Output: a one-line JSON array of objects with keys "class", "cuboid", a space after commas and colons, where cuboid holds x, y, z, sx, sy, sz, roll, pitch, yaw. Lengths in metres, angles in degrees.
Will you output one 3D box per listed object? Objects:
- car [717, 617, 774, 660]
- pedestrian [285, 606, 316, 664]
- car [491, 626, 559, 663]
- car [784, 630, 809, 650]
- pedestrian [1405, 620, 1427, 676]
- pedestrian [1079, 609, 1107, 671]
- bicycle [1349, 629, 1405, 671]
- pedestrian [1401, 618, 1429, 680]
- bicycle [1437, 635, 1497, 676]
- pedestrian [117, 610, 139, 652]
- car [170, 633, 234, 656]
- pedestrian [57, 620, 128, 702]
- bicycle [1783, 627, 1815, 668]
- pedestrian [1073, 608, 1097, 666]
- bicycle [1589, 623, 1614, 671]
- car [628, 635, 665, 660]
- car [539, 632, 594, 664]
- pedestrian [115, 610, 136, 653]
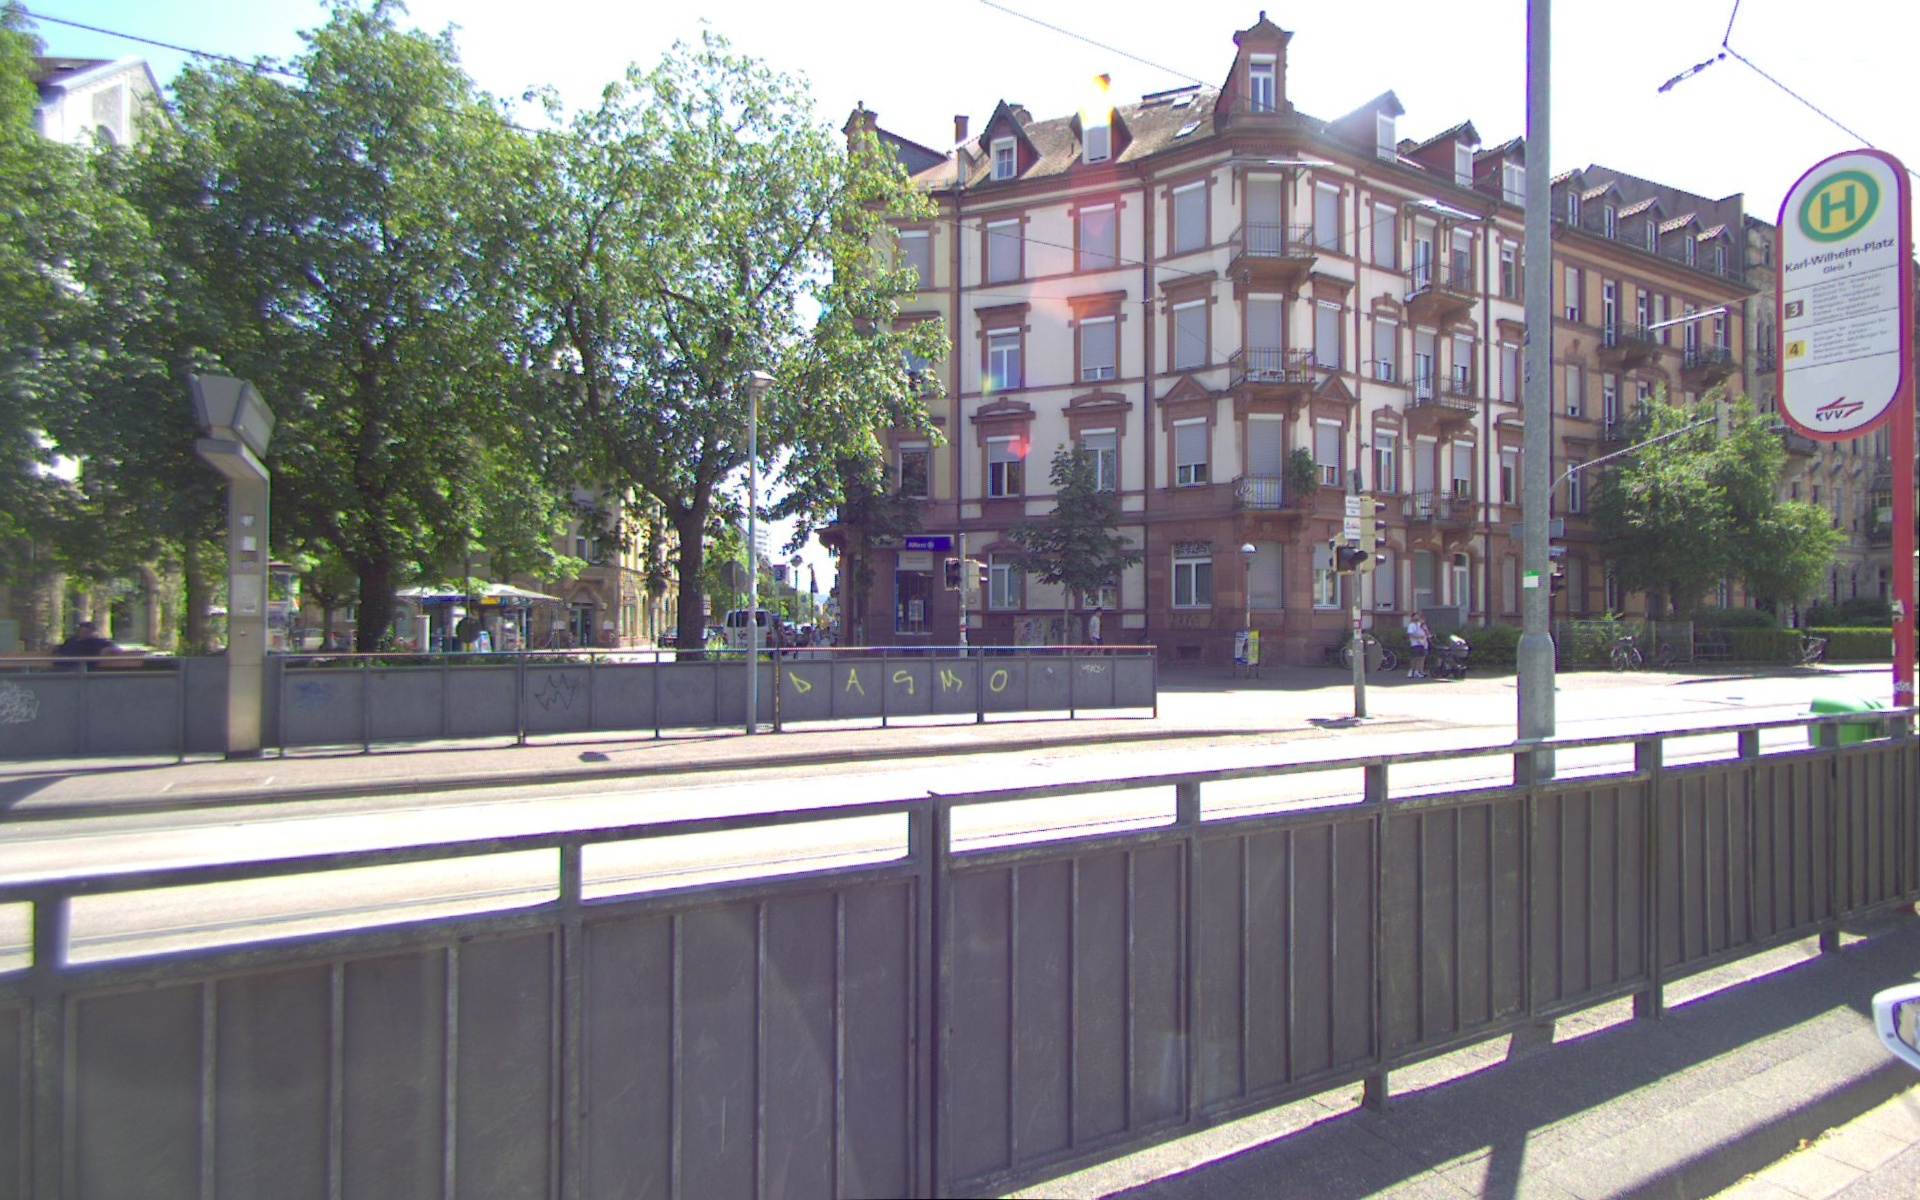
[{"class": "car", "cuboid": [-7.744, 1.352, 36.527, 1.512, 1.461, 3.739, 1, -1, -5]}, {"class": "pedestrian", "cuboid": [-23.394, 1.227, 35.627, 0.704, 2.040, 0.811, 0, -1, -19]}, {"class": "car", "cuboid": [-18.406, 1.862, 42.675, 1.512, 1.461, 3.739, 1, -1, -5]}, {"class": "car", "cuboid": [-12.175, 2.969, 75.059, 1.512, 1.461, 3.739, 1, -1, -5]}, {"class": "pedestrian", "cuboid": [12.739, 1.330, 28.053, 0.497, 1.536, 0.469, 1, -1, 19]}, {"class": "pedestrian", "cuboid": [4.007, 1.199, 30.286, 0.556, 1.849, 0.632, 0, -1, 39]}, {"class": "bicycle", "cuboid": [12.394, 1.468, 29.868, 1.494, 1.185, 0.364, 1, 1, 34]}, {"class": "pedestrian", "cuboid": [12.443, 1.337, 27.465, 0.641, 1.637, 0.469, 1, 2, 19]}, {"class": "bicycle", "cuboid": [13.720, 1.487, 27.219, 1.375, 1.027, 0.389, 2, 0, 21]}, {"class": "pedestrian", "cuboid": [-32.715, 1.220, 39.512, 0.554, 1.644, 0.510, 1, -1, -30]}, {"class": "car", "cuboid": [-30.703, 1.791, 40.720, 0.847, 0.877, 1.909, 0, -1, 35]}, {"class": "pedestrian", "cuboid": [-14.271, 0.989, 16.535, 0.607, 1.304, 0.646, 1, -1, 21]}, {"class": "bicycle", "cuboid": [29.013, 1.623, 34.758, 0.583, 1.374, 2.433, 0, -1, 34]}, {"class": "pedestrian", "cuboid": [3.881, 1.141, 31.191, 0.500, 1.791, 0.527, 0, -1, 39]}, {"class": "bicycle", "cuboid": [19.563, 1.419, 30.623, 0.606, 1.414, 2.301, 0, -1, 34]}, {"class": "car", "cuboid": [-19.747, 2.981, 63.328, 1.512, 1.461, 3.738, 1, -1, -6]}, {"class": "car", "cuboid": [-19.683, 2.393, 50.370, 1.512, 1.461, 3.739, 1, -1, -5]}, {"class": "pedestrian", "cuboid": [-32.441, 1.215, 39.038, 0.520, 1.644, 0.493, 1, -1, -30]}]
